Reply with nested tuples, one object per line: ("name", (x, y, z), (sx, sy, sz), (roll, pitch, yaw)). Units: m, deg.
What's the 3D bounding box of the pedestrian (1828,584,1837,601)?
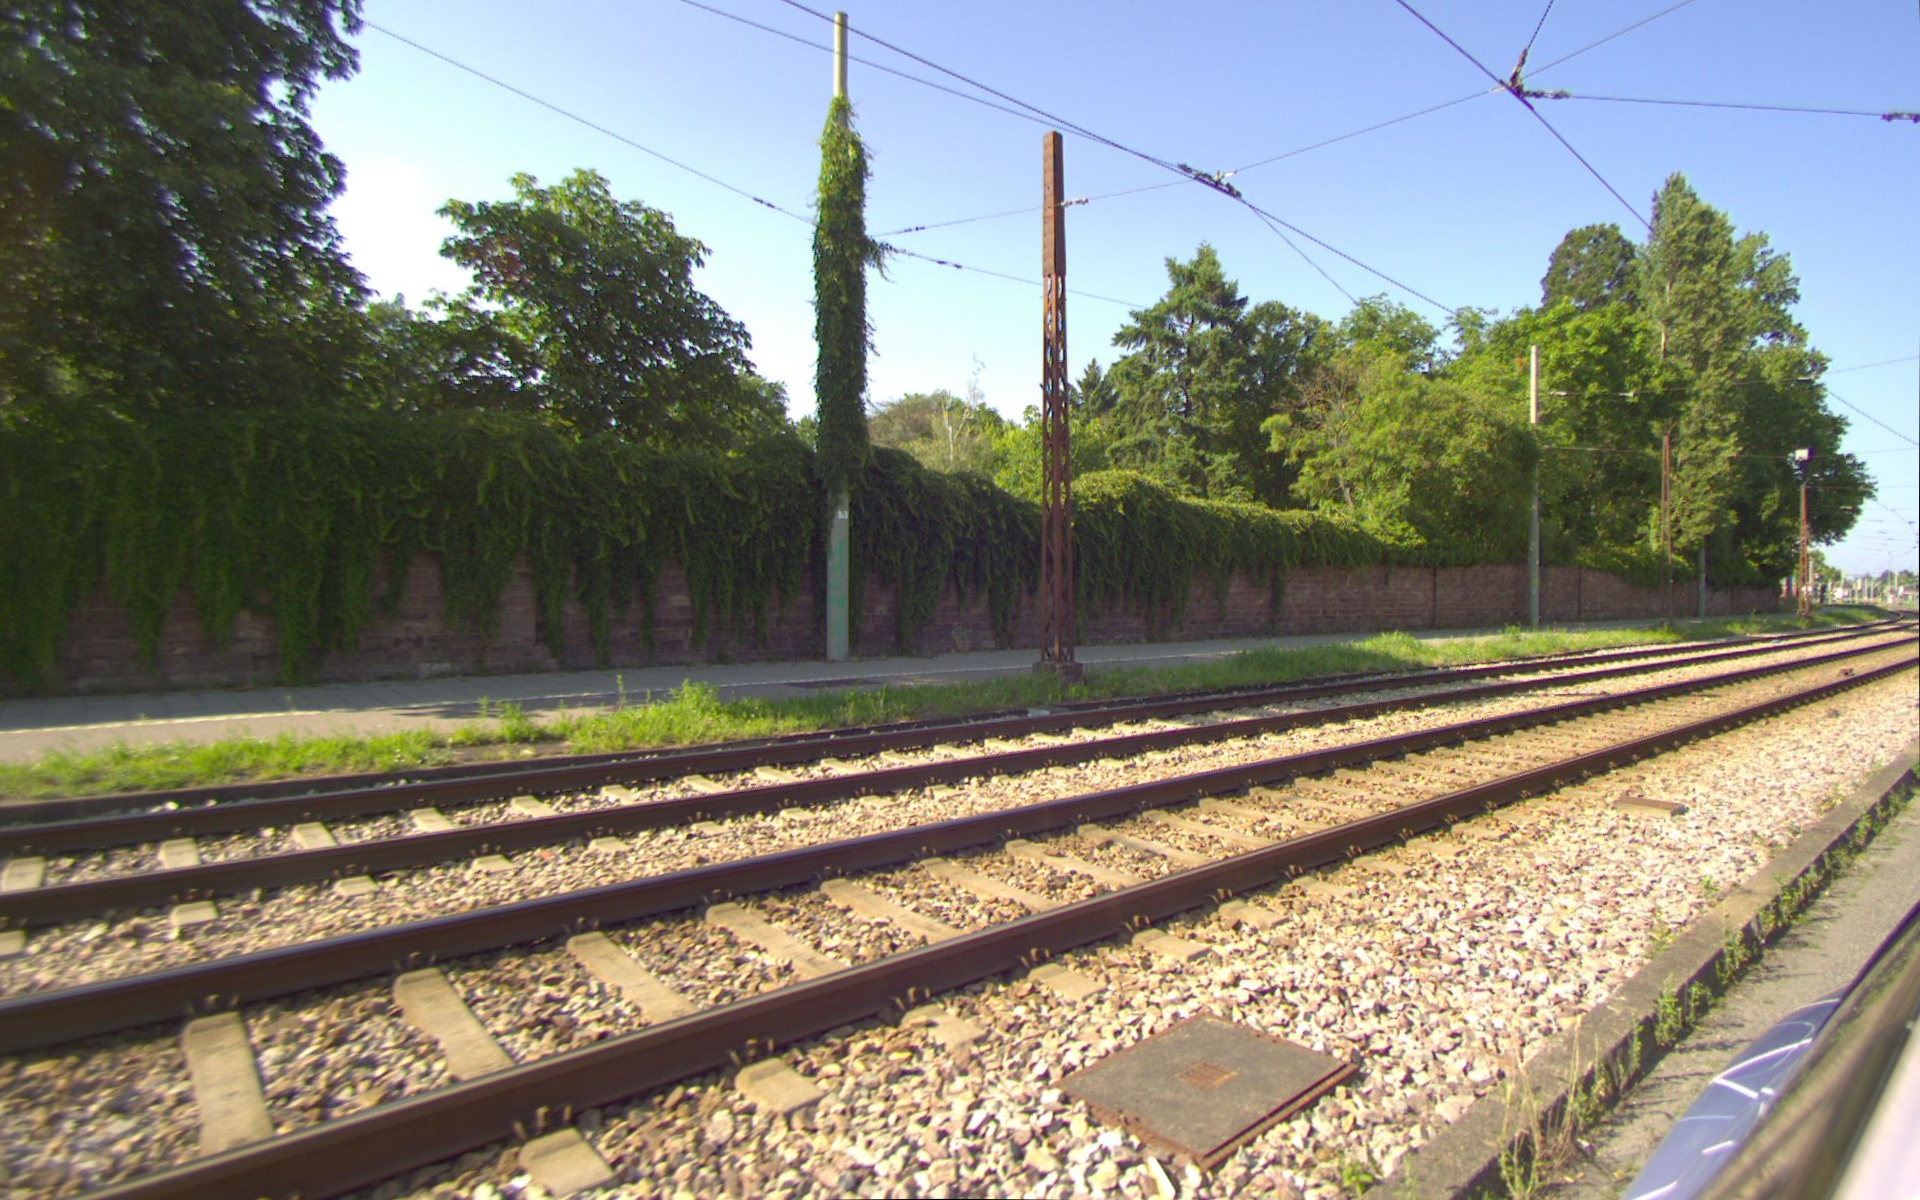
("pedestrian", (89.745, -0.724, 104.072), (0.869, 1.737, 0.501), (0, 1, -40))
